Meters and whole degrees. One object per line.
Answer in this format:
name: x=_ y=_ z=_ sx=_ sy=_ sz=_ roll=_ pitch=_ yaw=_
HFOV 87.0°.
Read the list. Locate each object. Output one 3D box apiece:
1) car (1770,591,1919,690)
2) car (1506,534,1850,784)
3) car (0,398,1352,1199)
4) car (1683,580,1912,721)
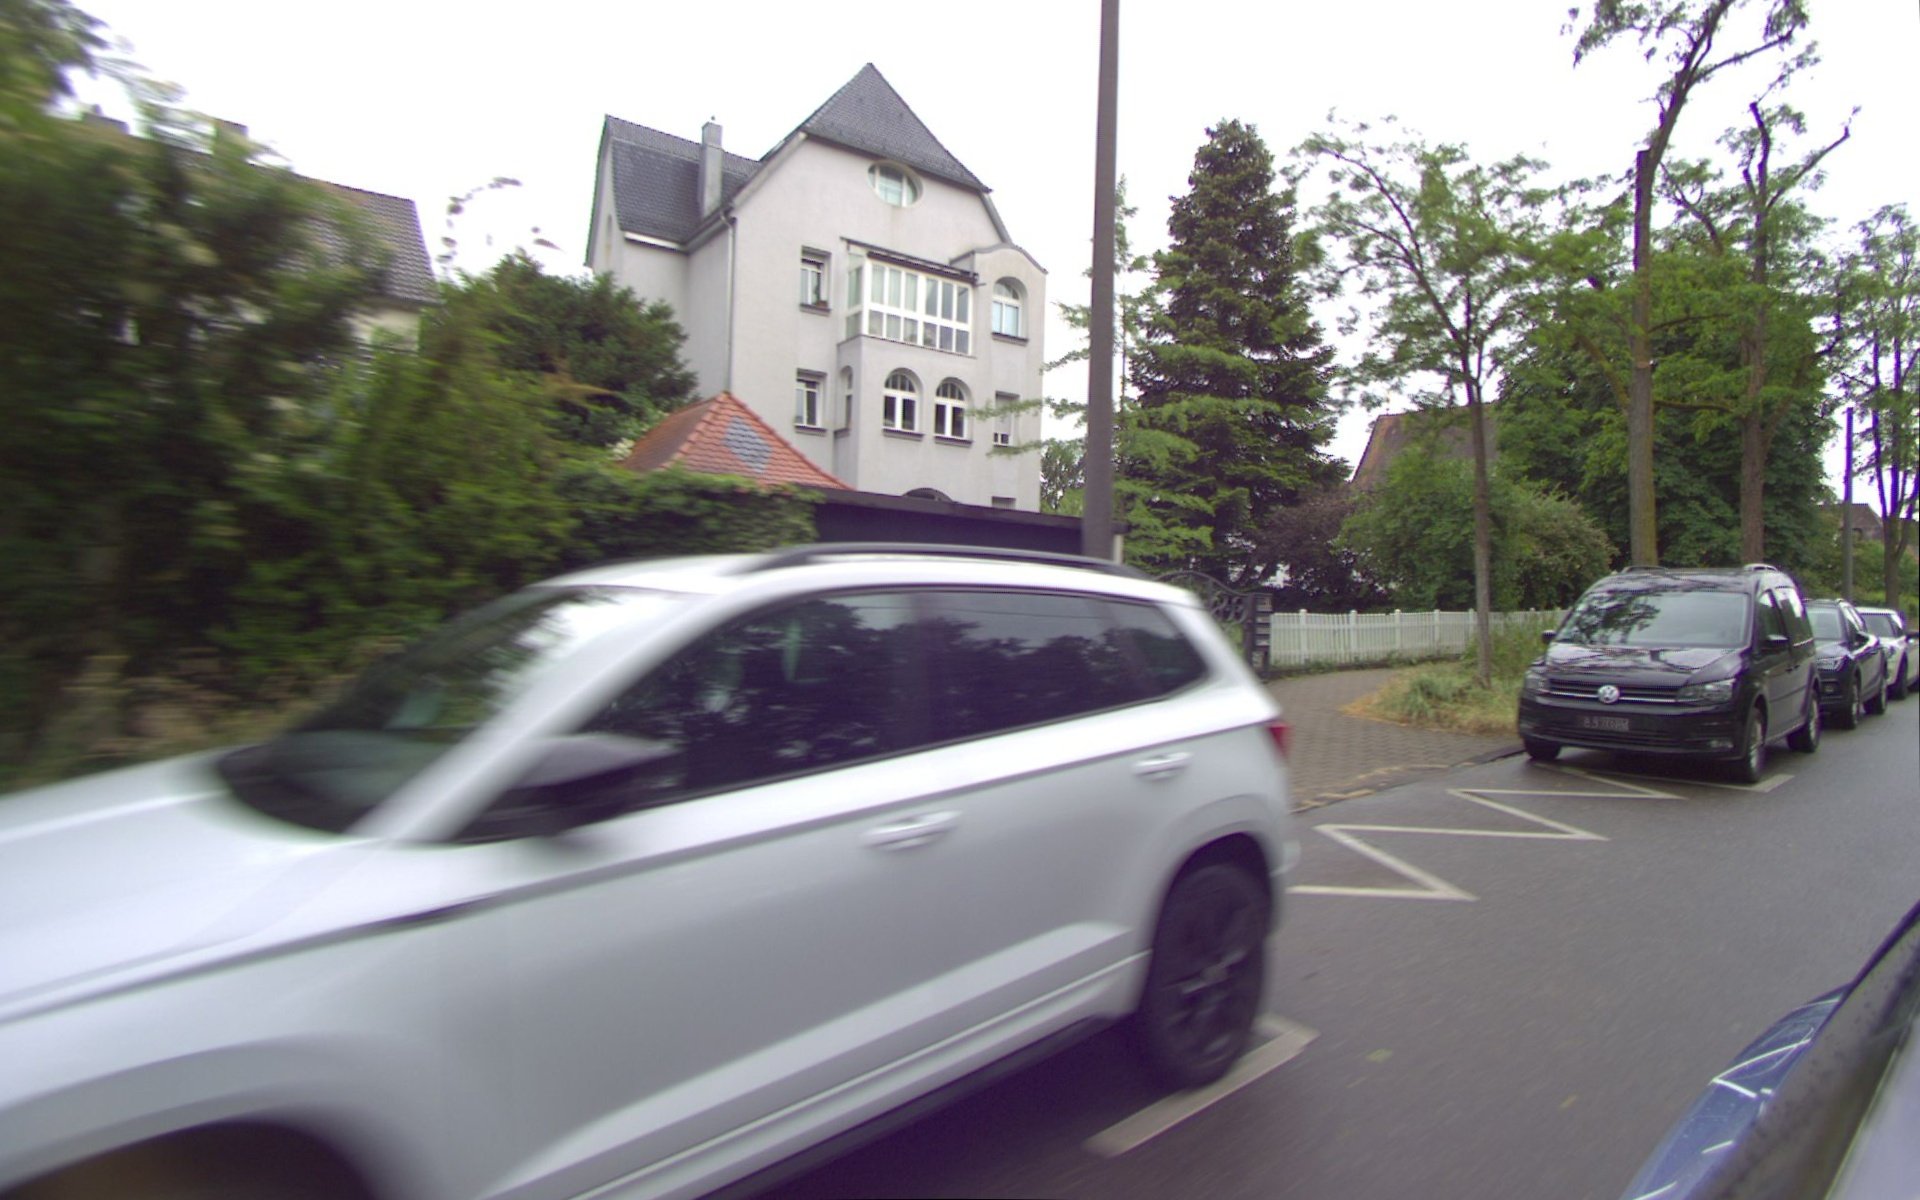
car: x=15.134 y=0.636 z=17.015 sx=3.659 sy=1.483 sz=1.740 roll=1 pitch=-1 yaw=-41
car: x=6.932 y=0.468 z=9.602 sx=4.155 sy=1.871 sz=1.733 roll=1 pitch=-1 yaw=-41
car: x=-0.838 y=0.590 z=2.703 sx=4.211 sy=1.633 sz=1.807 roll=1 pitch=-1 yaw=-42
car: x=11.069 y=0.587 z=13.289 sx=4.004 sy=1.575 sz=1.681 roll=1 pitch=-1 yaw=-41
